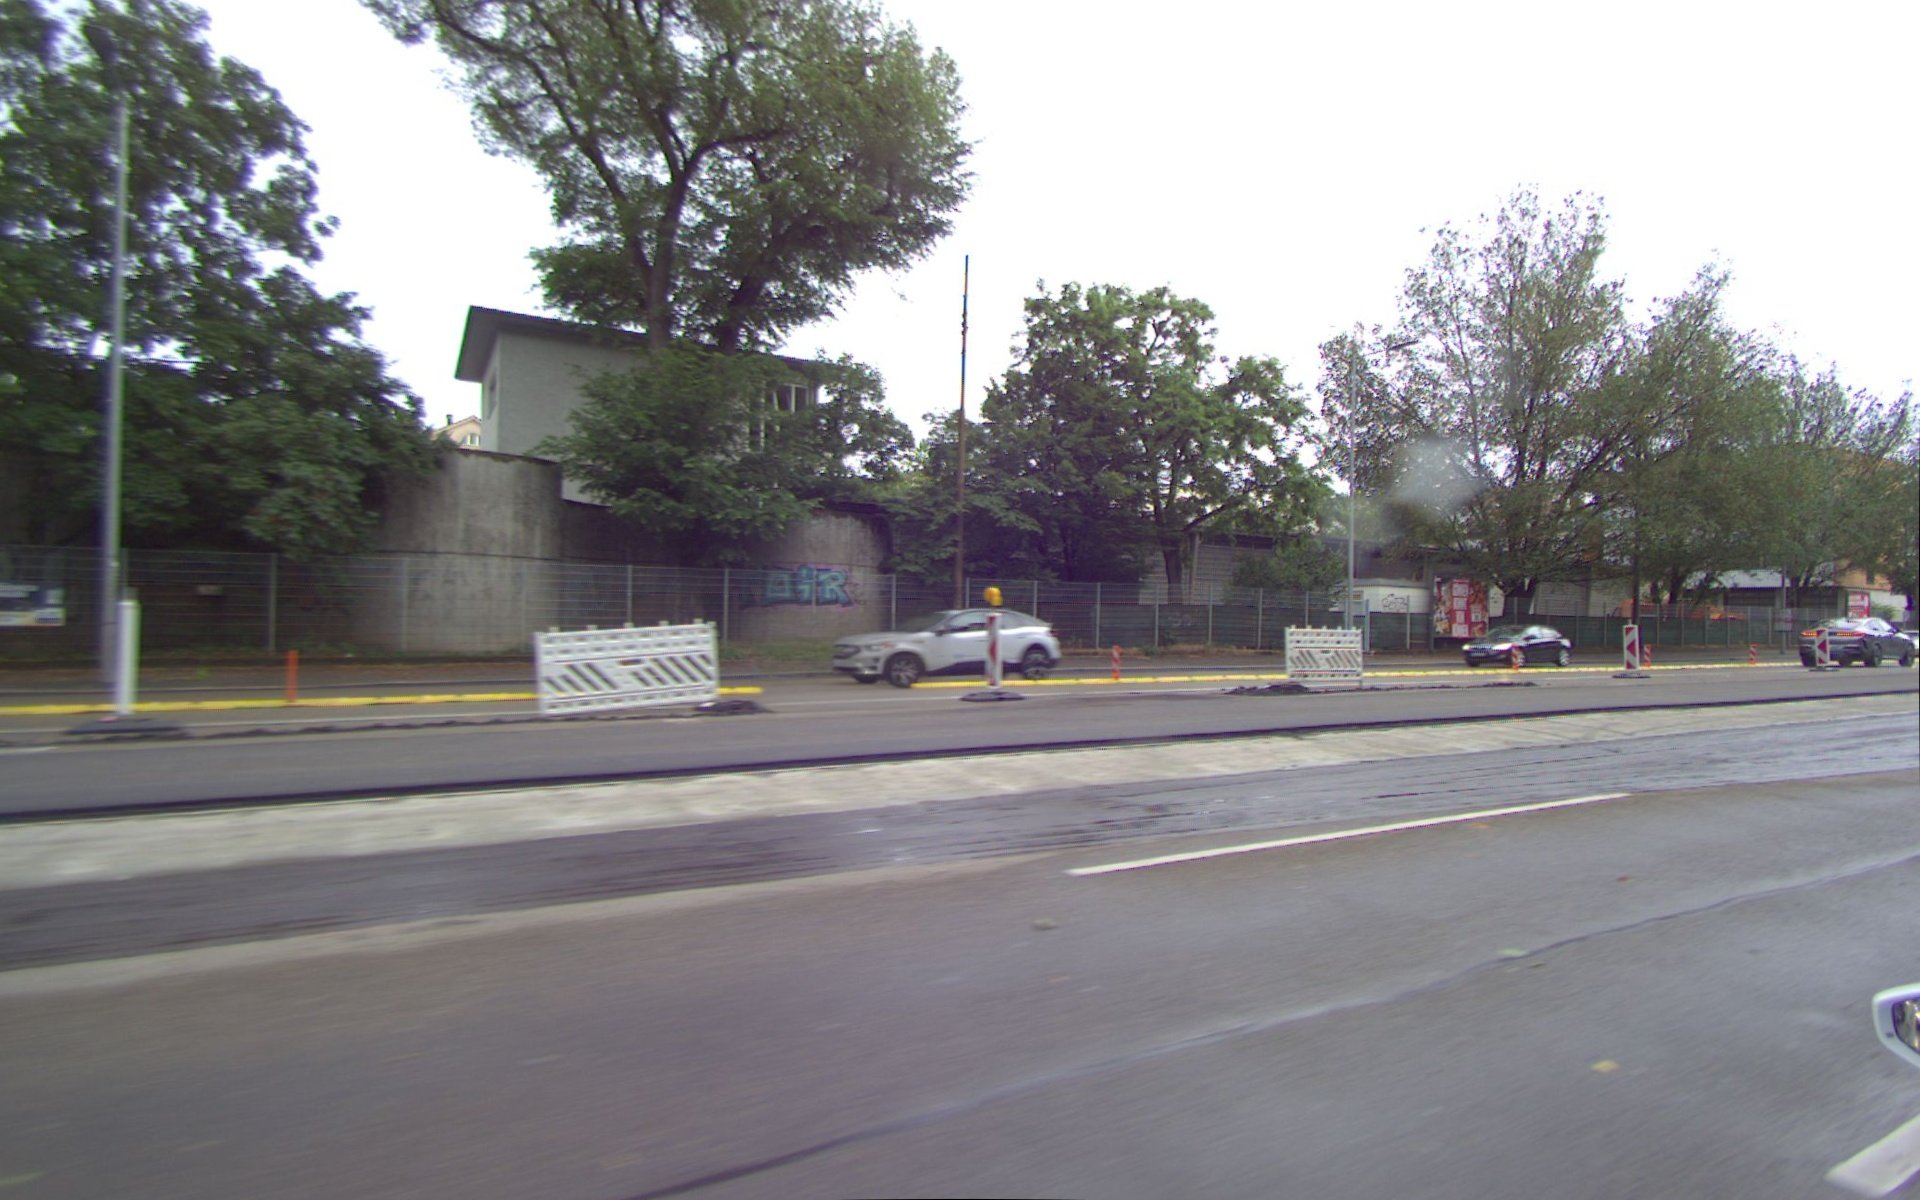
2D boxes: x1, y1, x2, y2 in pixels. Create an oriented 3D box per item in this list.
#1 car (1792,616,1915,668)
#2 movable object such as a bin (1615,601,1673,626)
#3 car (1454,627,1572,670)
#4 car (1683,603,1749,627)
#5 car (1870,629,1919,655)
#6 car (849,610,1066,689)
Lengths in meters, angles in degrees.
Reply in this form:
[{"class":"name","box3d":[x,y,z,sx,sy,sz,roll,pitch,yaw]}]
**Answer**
[{"class":"car","box3d":[30.807,1.420,34.610,4.343,1.672,1.884,1,-1,-30]},{"class":"movable object such as a bin","box3d":[43.610,0.867,64.152,1.718,1.548,4.026,0,-1,13]},{"class":"car","box3d":[19.051,1.656,34.594,4.120,1.401,1.698,1,-2,-30]},{"class":"car","box3d":[52.014,1.037,69.184,1.959,1.548,4.026,0,-1,8]},{"class":"car","box3d":[49.863,2.208,52.818,4.401,1.332,1.660,1,-3,-30]},{"class":"car","box3d":[-0.016,0.978,20.587,4.100,1.453,1.827,1,-1,-30]}]
